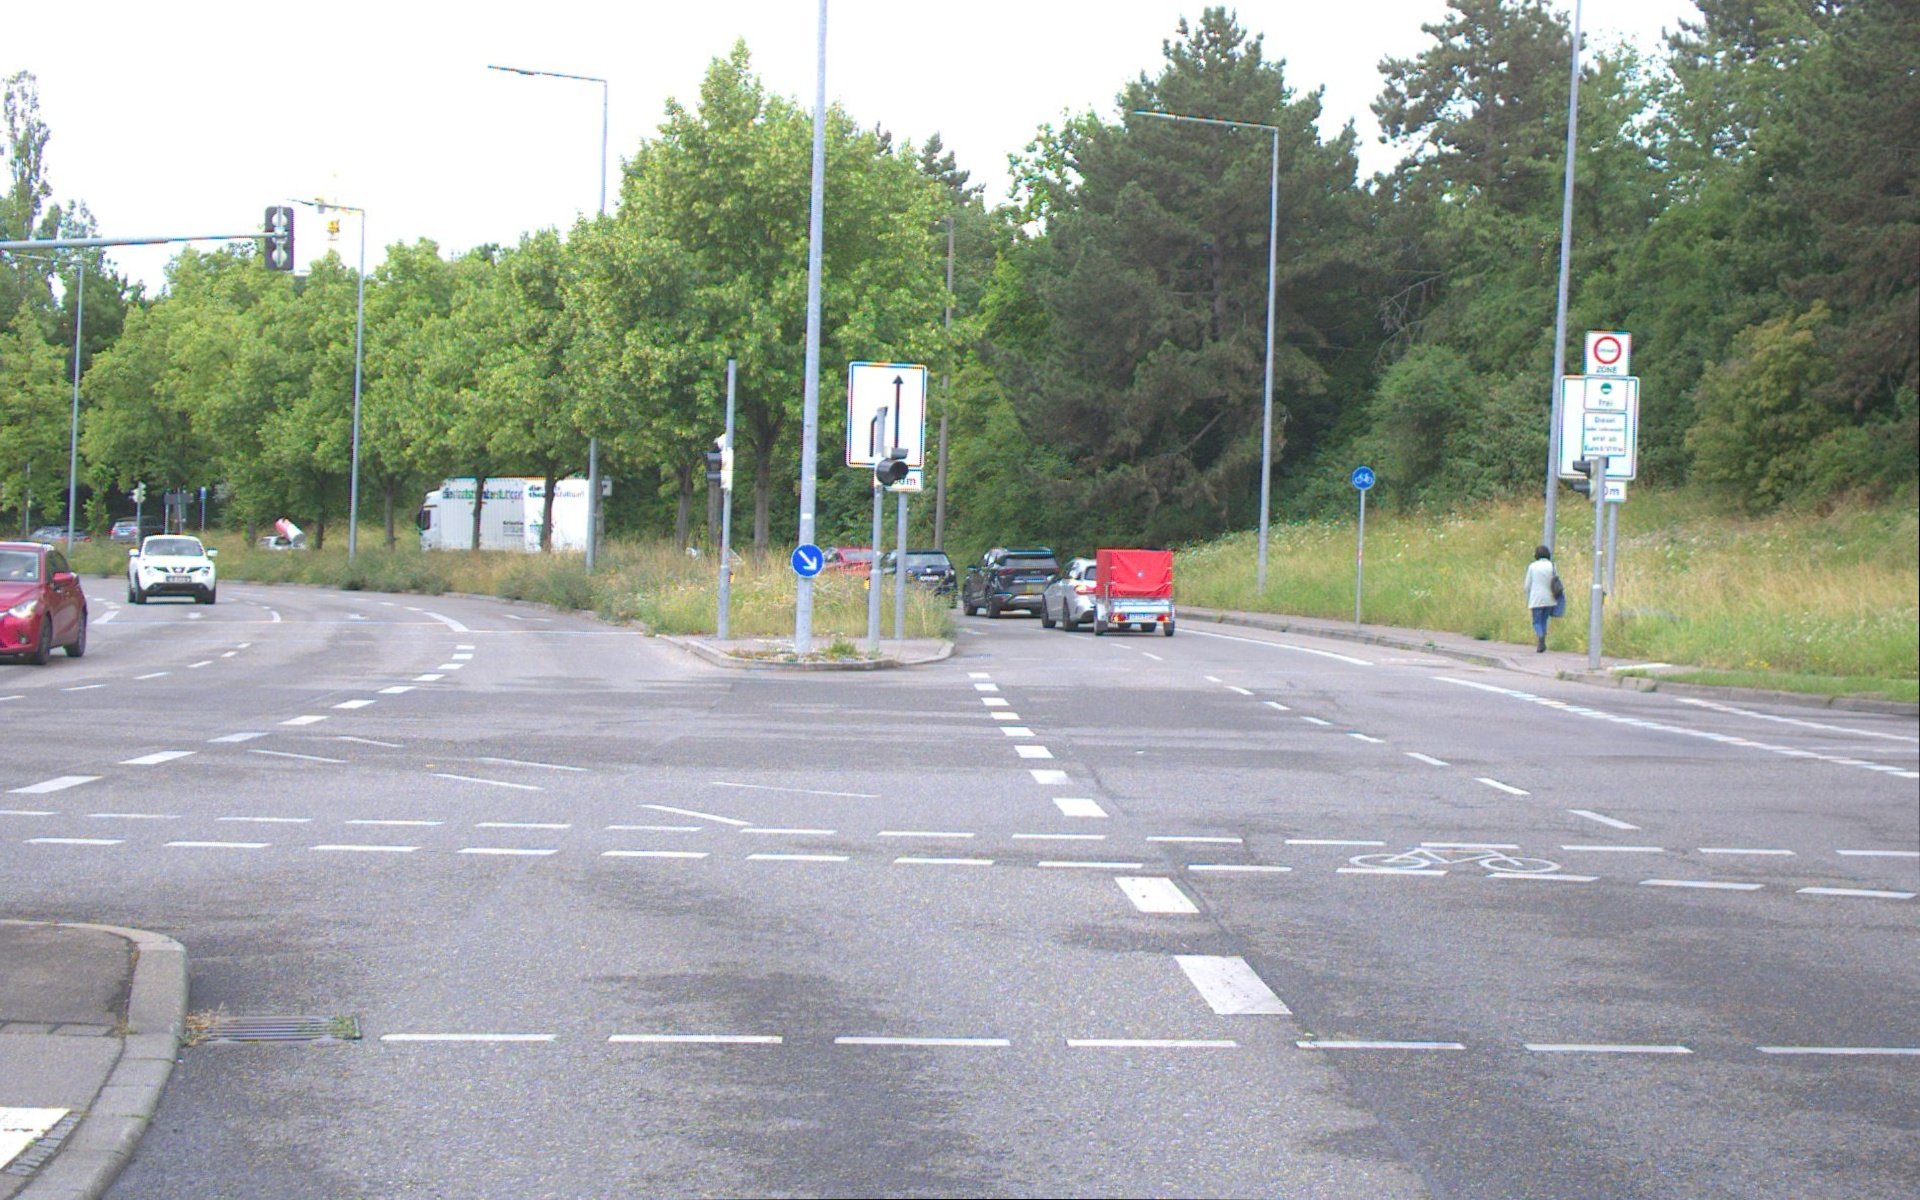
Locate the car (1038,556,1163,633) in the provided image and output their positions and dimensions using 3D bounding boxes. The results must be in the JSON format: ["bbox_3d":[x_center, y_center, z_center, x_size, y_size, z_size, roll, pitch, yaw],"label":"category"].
[{"bbox_3d":[2.782,-0.136,68.924,1.777,1.416,4.460,1,1,-7],"label":"car"}]

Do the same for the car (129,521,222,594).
[{"bbox_3d":[-17.943,-0.978,78.775,1.828,1.623,4.427,0,1,-10],"label":"car"}]

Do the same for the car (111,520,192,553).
[{"bbox_3d":[-39.277,-3.092,167.156,1.780,1.541,4.020,1,1,23],"label":"car"}]

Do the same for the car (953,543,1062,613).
[{"bbox_3d":[1.088,-0.541,80.323,1.777,1.541,4.026,1,1,-10],"label":"car"}]

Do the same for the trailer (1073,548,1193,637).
[{"bbox_3d":[3.252,-0.158,65.208,1.764,1.610,3.044,1,1,-7],"label":"trailer"}]

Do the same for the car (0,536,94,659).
[{"bbox_3d":[-11.859,-0.071,42.326,1.780,1.438,4.427,0,1,-7],"label":"car"}]

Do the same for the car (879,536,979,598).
[{"bbox_3d":[-0.831,-0.869,89.771,1.777,1.541,4.026,0,1,-13],"label":"car"}]

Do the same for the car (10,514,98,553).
[{"bbox_3d":[-39.985,-2.919,151.671,3.997,1.678,1.995,1,1,44],"label":"car"}]

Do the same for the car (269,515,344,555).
[{"bbox_3d":[-26.070,-2.609,137.068,1.778,1.541,4.025,0,1,-29],"label":"car"}]

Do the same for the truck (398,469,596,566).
[{"bbox_3d":[-16.757,-3.000,123.582,2.739,3.317,11.407,0,1,-31],"label":"truck"}]

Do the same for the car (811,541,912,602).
[{"bbox_3d":[-2.783,-0.824,96.202,1.777,1.541,4.026,-1,3,-18],"label":"car"}]

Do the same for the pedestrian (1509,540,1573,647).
[{"bbox_3d":[8.919,-0.108,52.796,0.814,1.622,0.791,1,1,-1],"label":"pedestrian"}]
